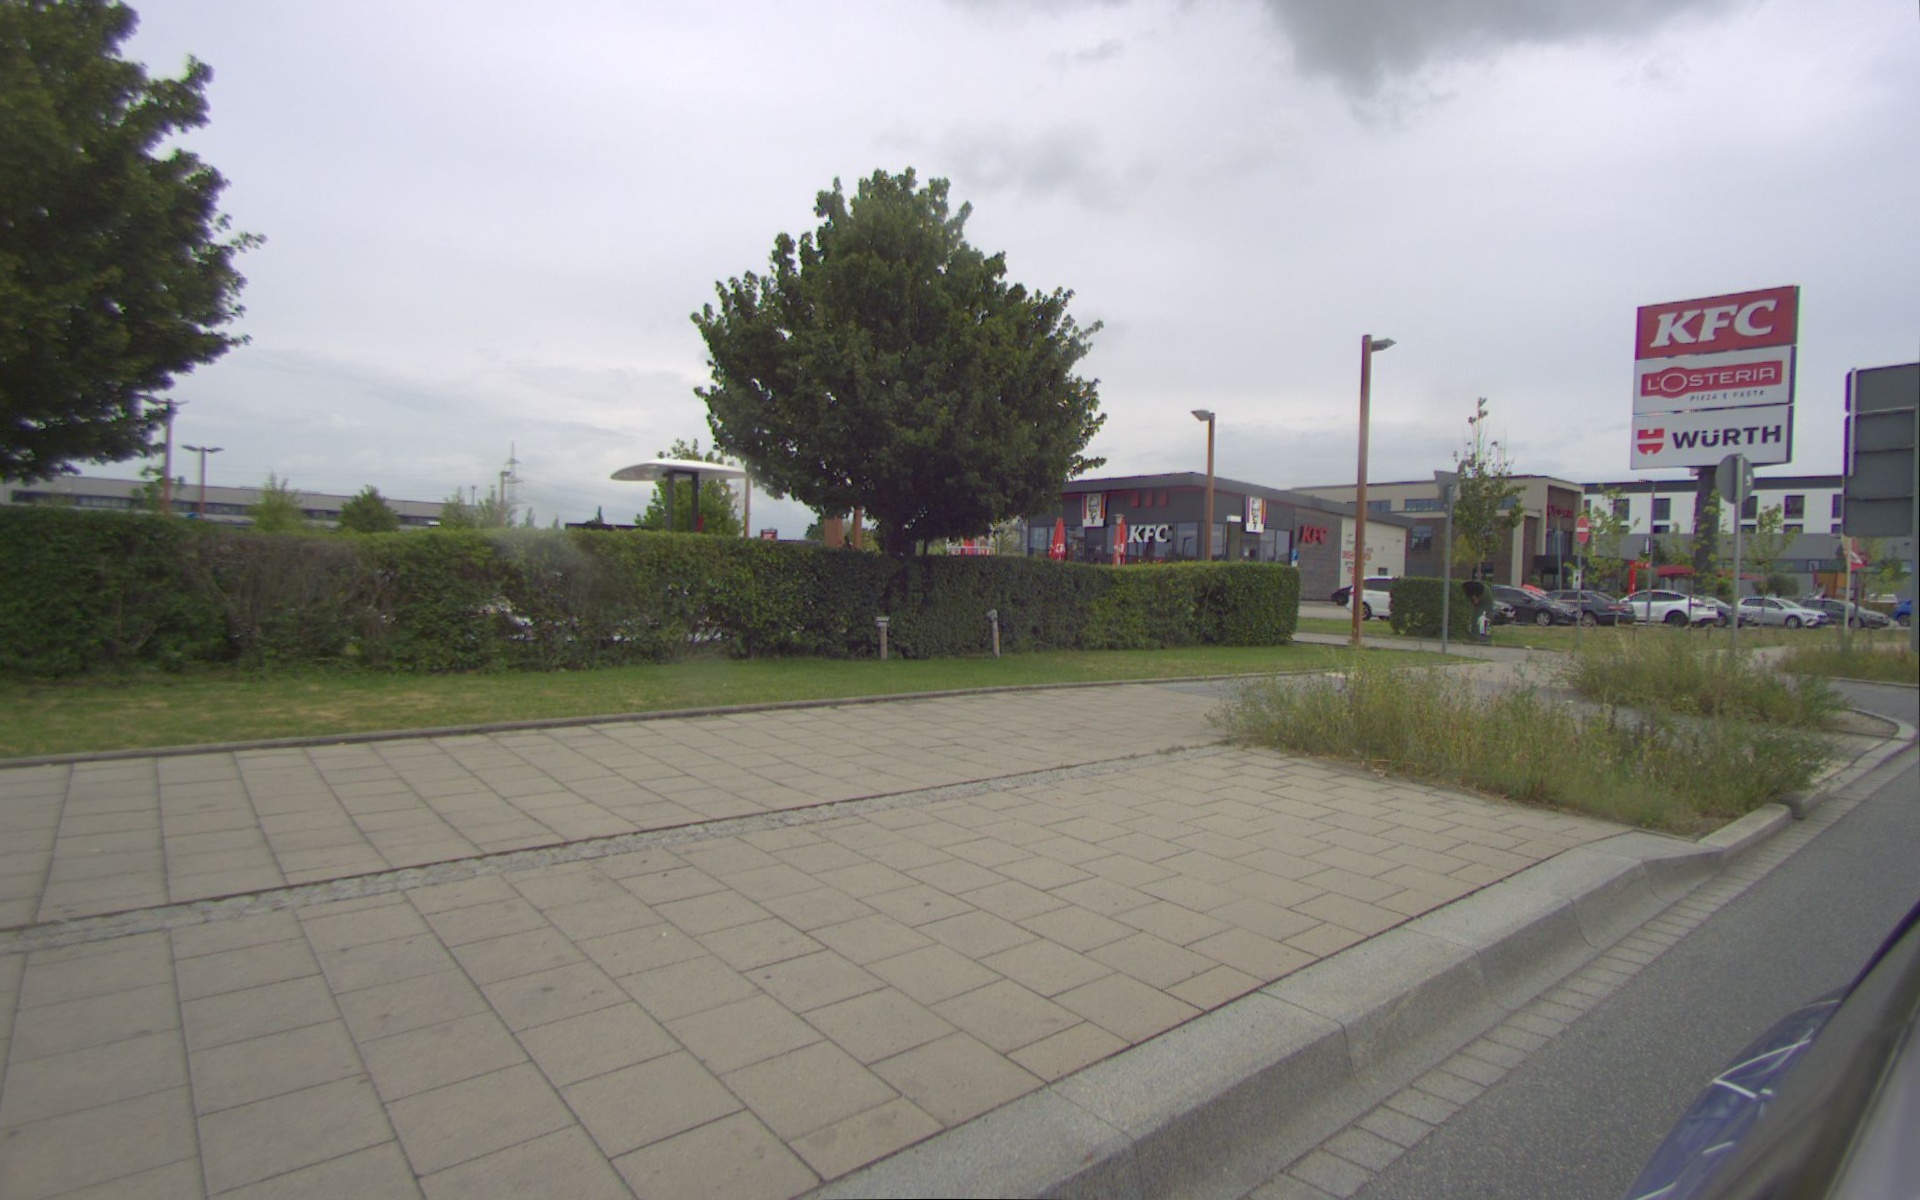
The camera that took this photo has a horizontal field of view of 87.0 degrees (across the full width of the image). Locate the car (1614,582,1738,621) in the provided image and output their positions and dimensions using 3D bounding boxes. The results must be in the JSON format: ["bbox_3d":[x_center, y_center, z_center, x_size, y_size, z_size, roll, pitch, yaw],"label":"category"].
[{"bbox_3d":[31.195,0.048,44.211,1.811,1.541,4.004,1,1,-31],"label":"car"}]

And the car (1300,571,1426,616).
[{"bbox_3d":[14.966,-0.284,37.760,1.814,1.547,3.997,1,2,-39],"label":"car"}]

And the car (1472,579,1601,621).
[{"bbox_3d":[22.561,-0.034,39.737,1.811,1.504,4.004,1,1,-31],"label":"car"}]

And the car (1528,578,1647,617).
[{"bbox_3d":[26.989,-0.121,43.650,1.811,1.631,4.003,0,0,-31],"label":"car"}]

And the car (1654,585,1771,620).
[{"bbox_3d":[35.067,0.103,47.268,1.811,1.504,4.004,1,1,-32],"label":"car"}]

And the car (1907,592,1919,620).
[{"bbox_3d":[53.275,0.337,53.696,1.809,1.505,4.008,0,0,-23],"label":"car"}]

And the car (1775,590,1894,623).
[{"bbox_3d":[42.248,0.269,48.991,1.809,1.505,4.006,0,0,-27],"label":"car"}]

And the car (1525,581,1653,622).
[{"bbox_3d":[25.262,0.025,40.768,1.811,1.504,4.004,1,1,-31],"label":"car"}]

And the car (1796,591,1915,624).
[{"bbox_3d":[44.291,0.346,50.143,1.809,1.504,4.007,1,1,-27],"label":"car"}]

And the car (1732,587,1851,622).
[{"bbox_3d":[39.845,0.208,48.574,1.809,1.504,4.007,1,1,-27],"label":"car"}]
